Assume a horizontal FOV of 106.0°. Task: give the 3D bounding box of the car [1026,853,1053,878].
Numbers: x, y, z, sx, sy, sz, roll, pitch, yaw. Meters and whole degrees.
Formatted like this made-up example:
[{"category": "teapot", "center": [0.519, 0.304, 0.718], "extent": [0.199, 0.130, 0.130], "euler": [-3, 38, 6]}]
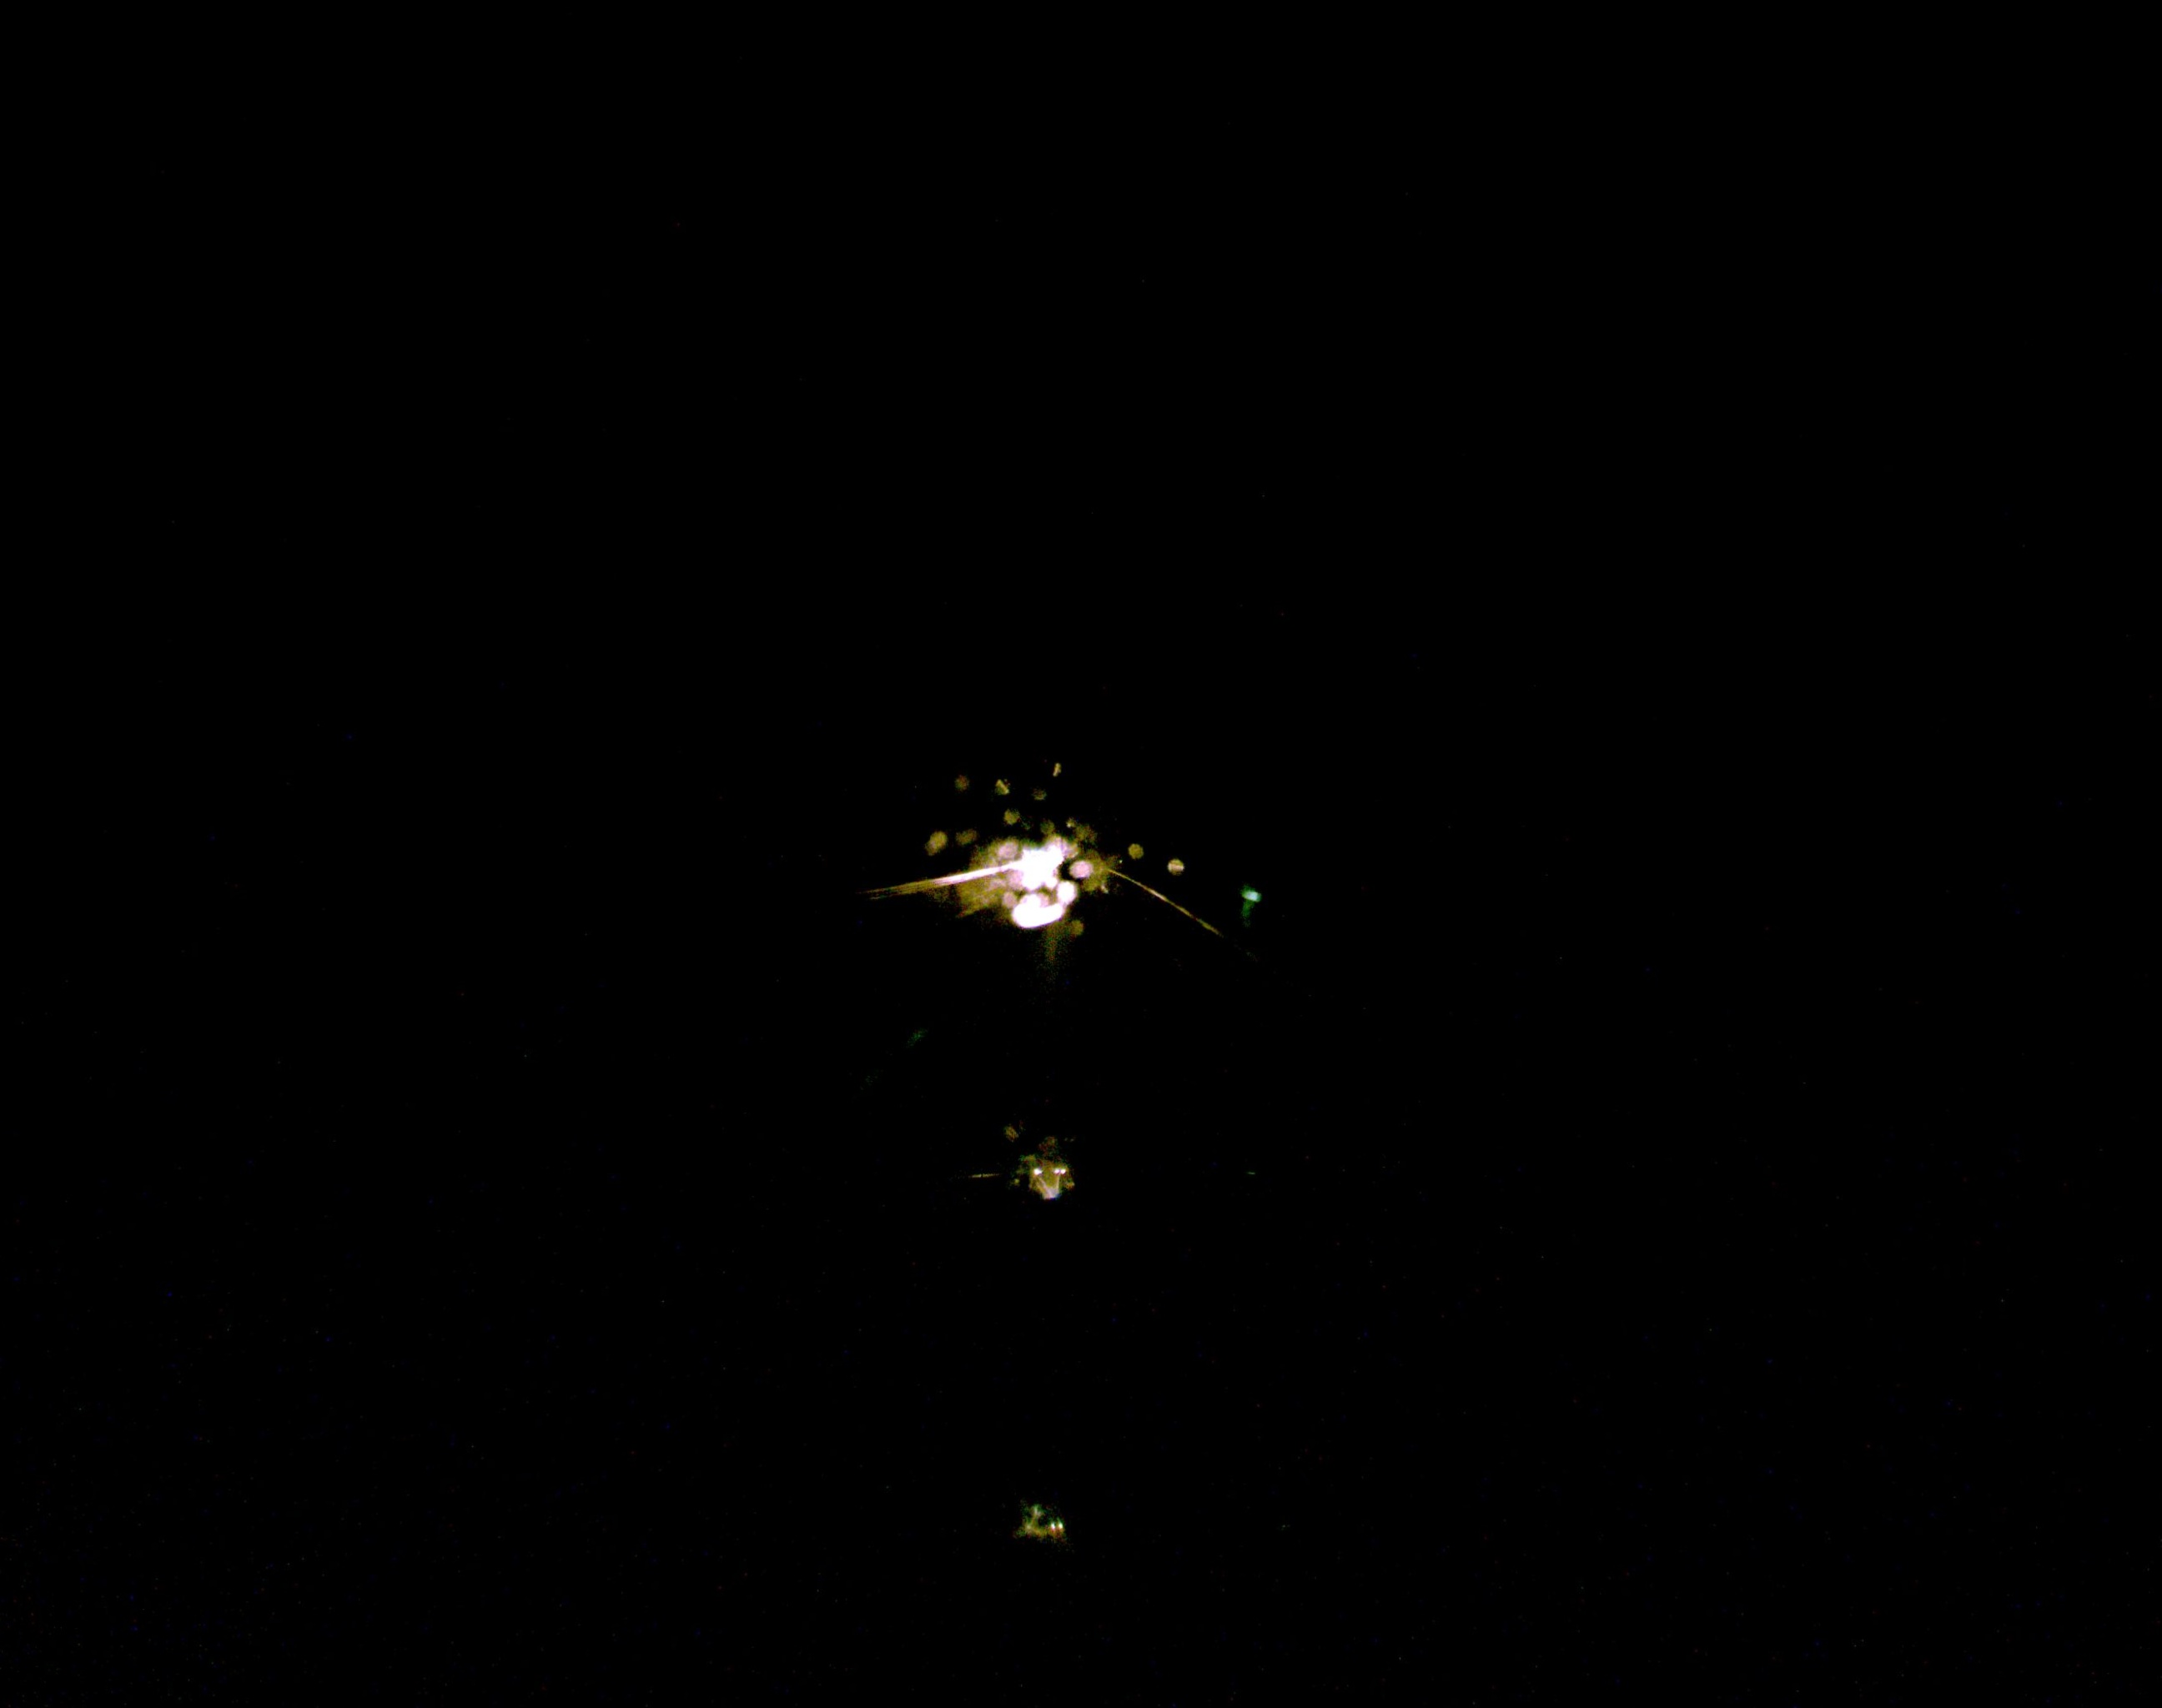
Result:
[{"category": "car", "center": [-2.871, 0.754, 56.844], "extent": [1.766, 1.675, 4.052], "euler": [0, 0, -1]}]
